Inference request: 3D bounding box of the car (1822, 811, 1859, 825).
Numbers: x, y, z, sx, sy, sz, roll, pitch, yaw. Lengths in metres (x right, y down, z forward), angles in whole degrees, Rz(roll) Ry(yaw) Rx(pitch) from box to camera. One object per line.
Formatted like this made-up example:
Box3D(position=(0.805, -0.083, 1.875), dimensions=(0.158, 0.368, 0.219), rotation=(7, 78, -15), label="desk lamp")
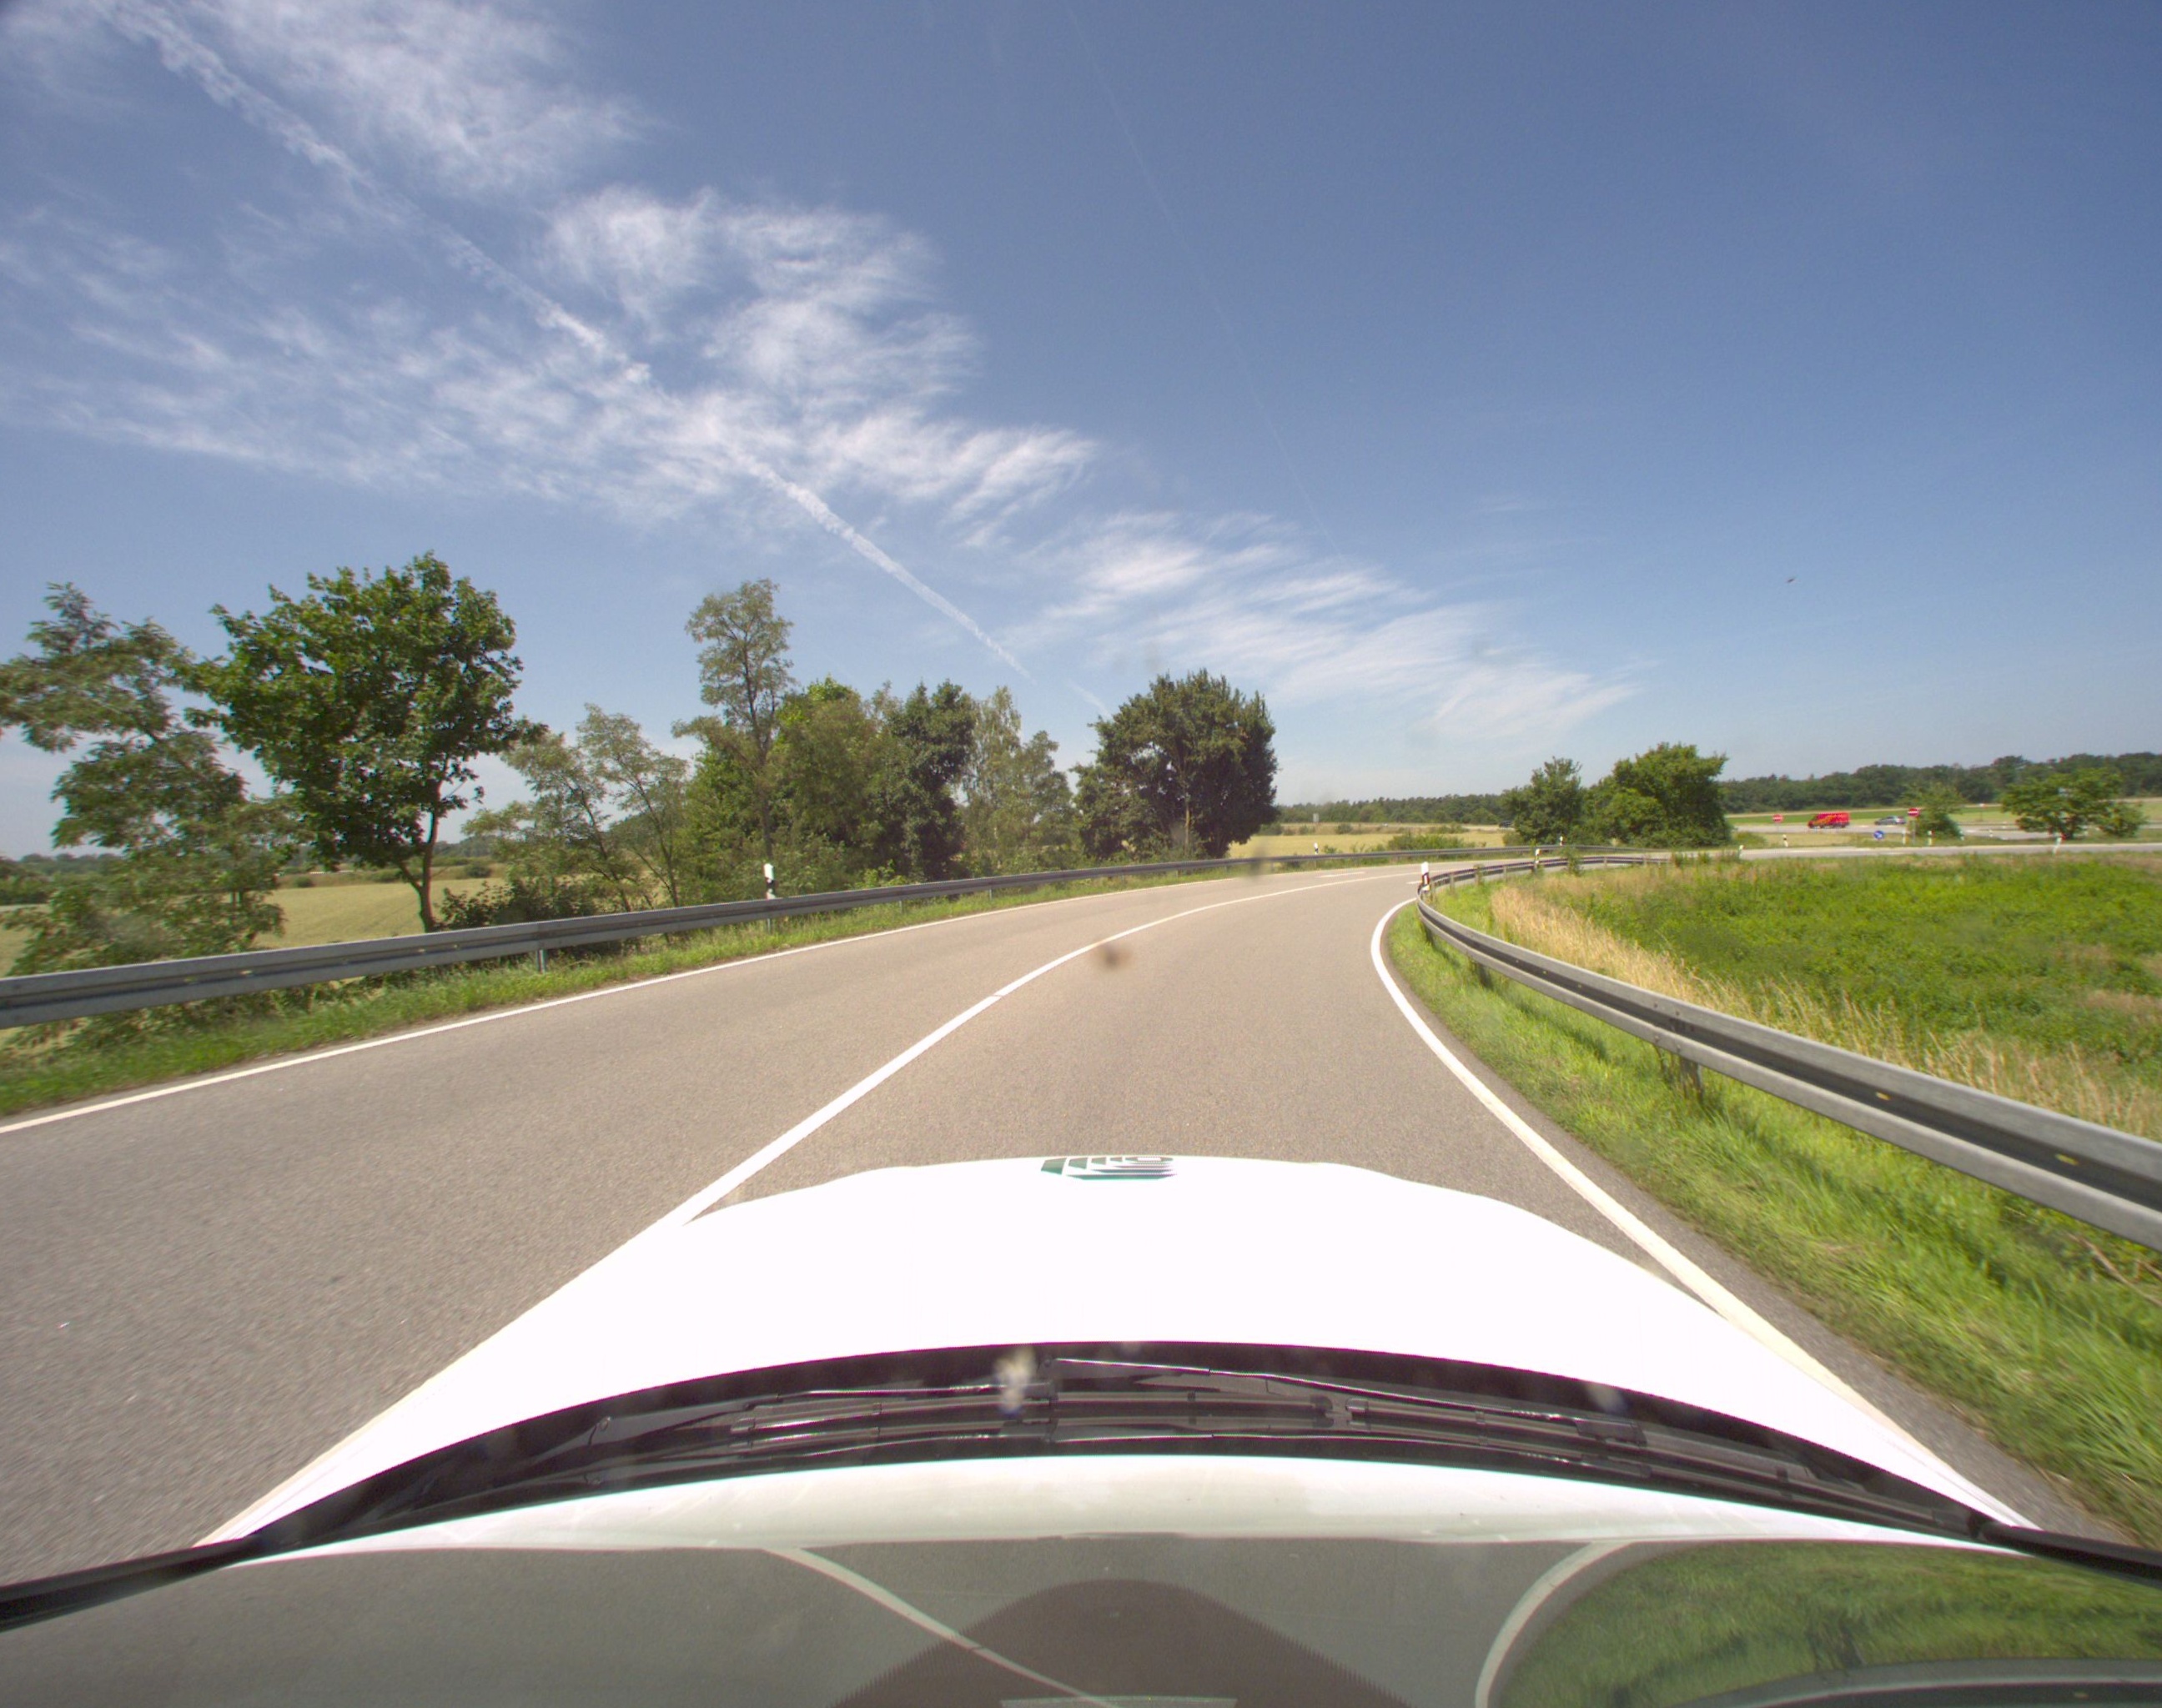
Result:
Box3D(position=(123.143, -5.867, 132.078), dimensions=(2.004, 2.014, 4.247), rotation=(-1, -1, 2), label="car")
